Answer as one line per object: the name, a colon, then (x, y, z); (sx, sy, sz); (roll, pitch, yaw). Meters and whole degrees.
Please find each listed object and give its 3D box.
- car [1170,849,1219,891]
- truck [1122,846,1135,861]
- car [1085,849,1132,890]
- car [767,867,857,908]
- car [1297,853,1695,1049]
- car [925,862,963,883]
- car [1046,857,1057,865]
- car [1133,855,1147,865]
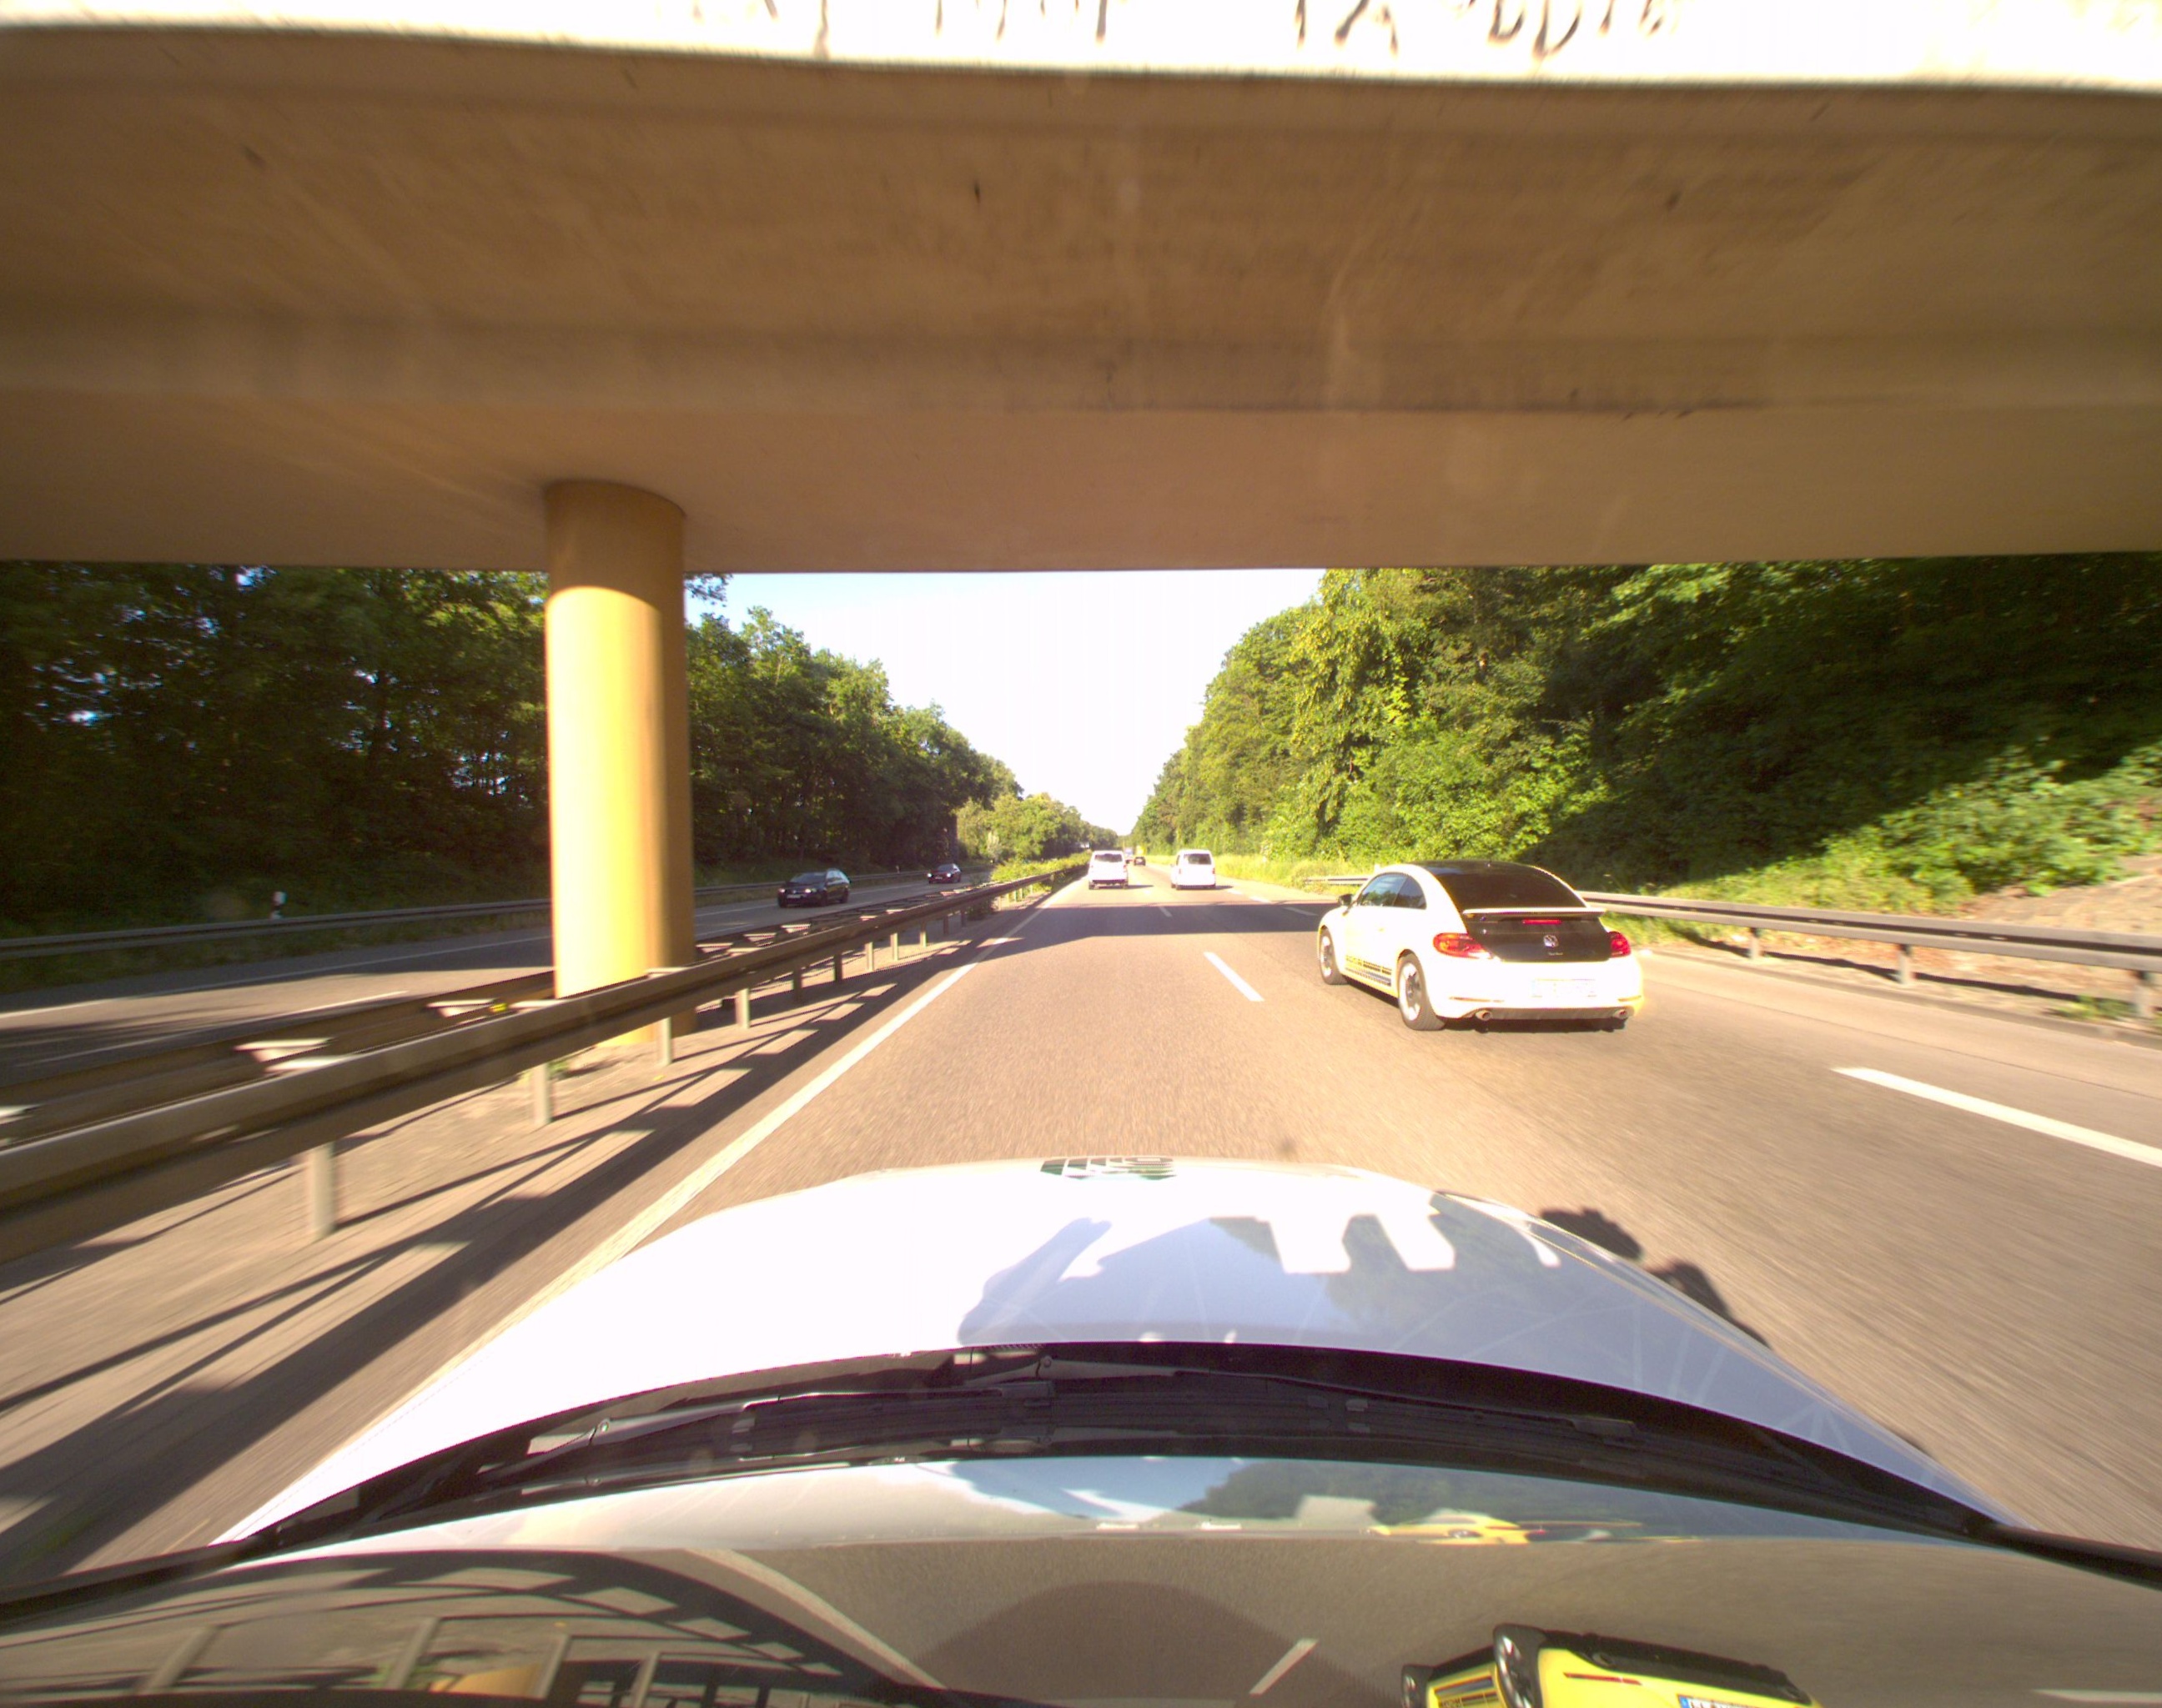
car: (5.179, 0.706, 37.579); (1.855, 1.770, 4.474); (-2, 0, 4)
truck: (14.276, -0.163, 244.705); (3.482, 4.173, 8.866); (-2, 0, 2)
car: (1.255, 0.695, 38.738); (2.078, 1.828, 4.000); (-1, 0, 0)
car: (-10.842, 1.296, 33.169); (1.953, 1.450, 4.708); (-1, 0, 1)
car: (3.745, 0.738, 8.380); (1.873, 1.461, 4.355); (-1, 0, 0)
car: (-10.212, 1.332, 60.805); (1.953, 1.450, 4.585); (0, 0, 1)
car: (-5.874, 1.424, 162.641); (1.954, 1.450, 4.506); (0, 0, 0)
car: (9.015, 0.897, 123.843); (1.986, 1.398, 4.002); (0, 0, 2)
